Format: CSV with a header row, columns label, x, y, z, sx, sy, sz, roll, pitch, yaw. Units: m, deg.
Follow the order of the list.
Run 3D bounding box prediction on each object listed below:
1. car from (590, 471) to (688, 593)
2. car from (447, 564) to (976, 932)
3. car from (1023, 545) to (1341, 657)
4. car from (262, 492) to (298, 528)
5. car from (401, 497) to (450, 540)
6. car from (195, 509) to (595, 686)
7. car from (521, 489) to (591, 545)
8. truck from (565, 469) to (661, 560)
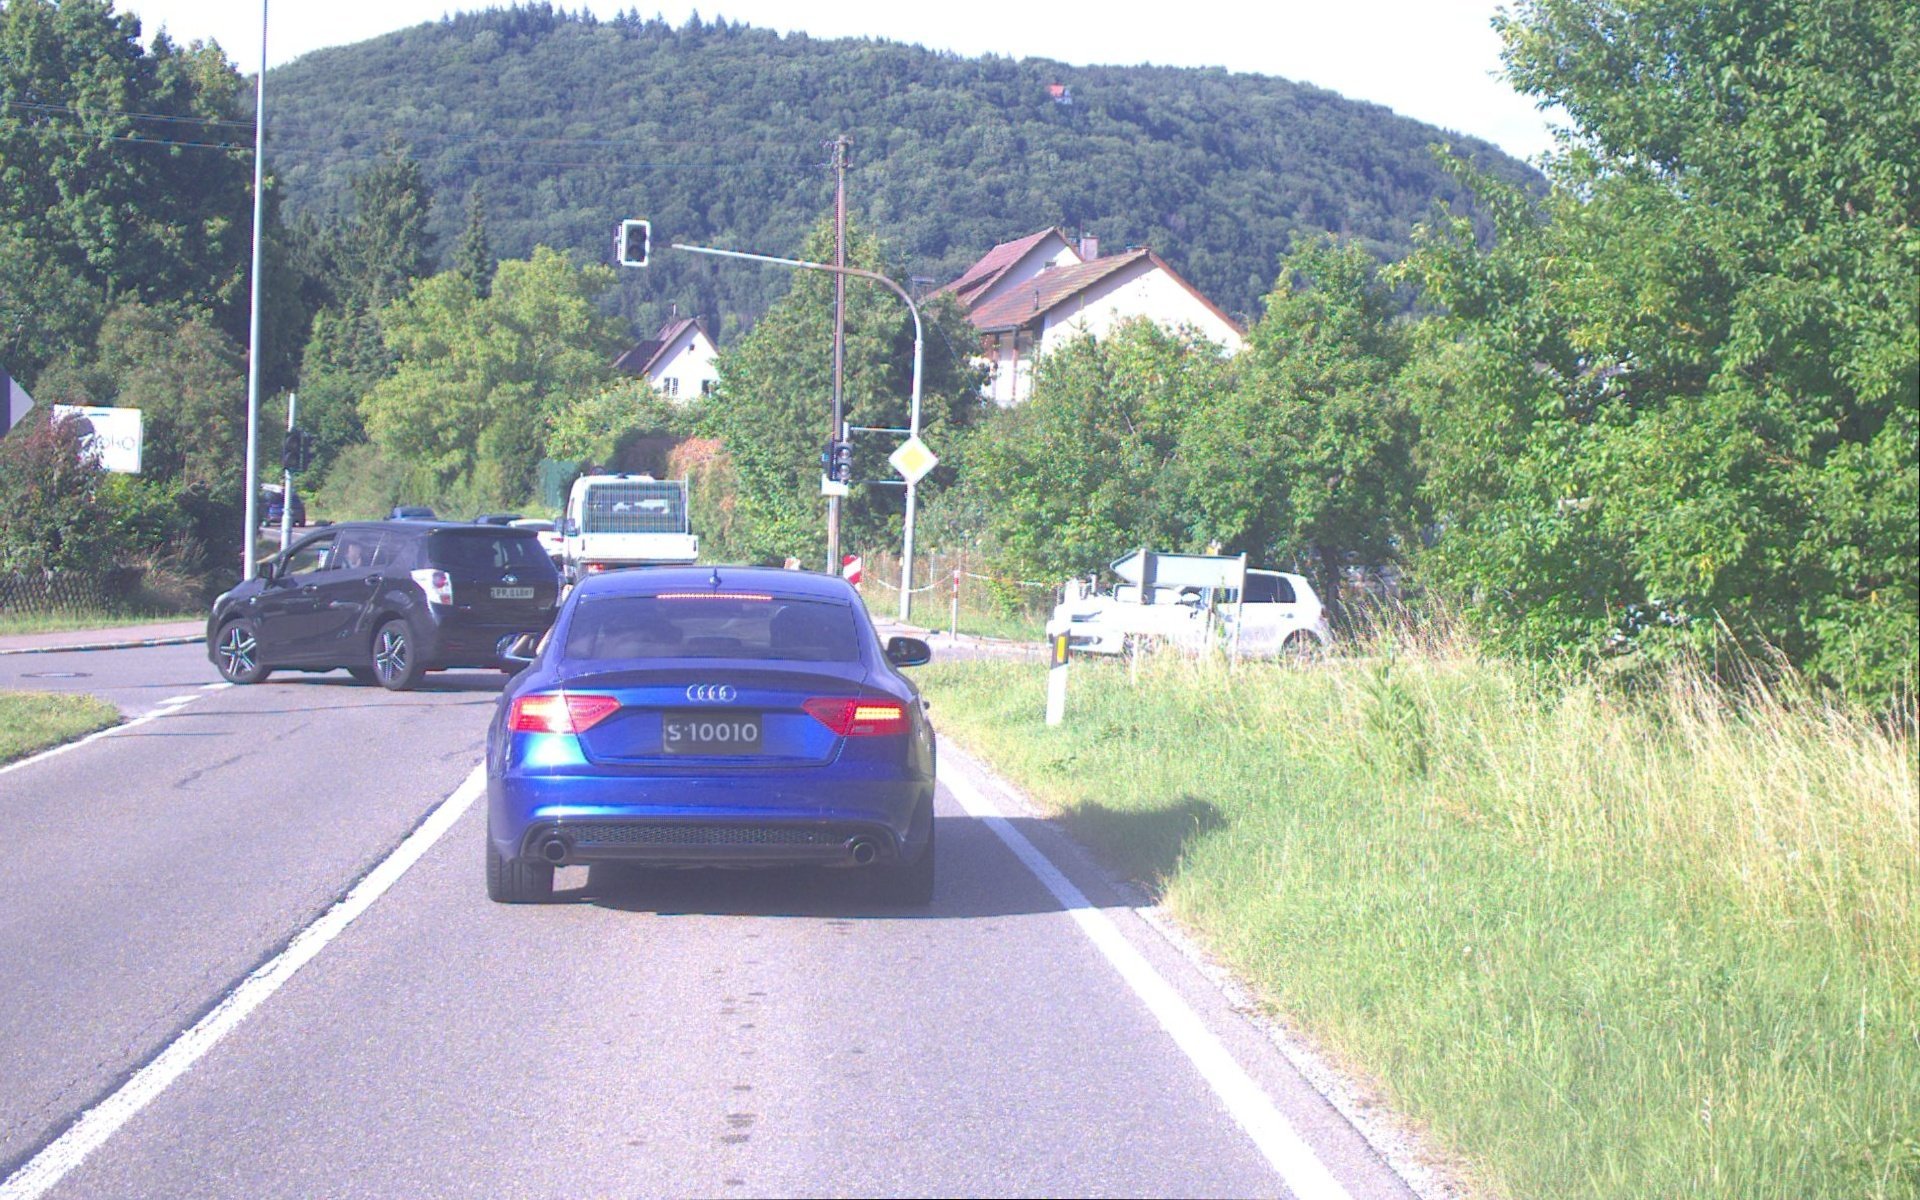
label,x,y,z,sx,sy,sz,roll,pitch,yaw
car,-6.032,-1.259,64.687,1.746,2.188,4.001,1,0,-5
car,-0.934,0.546,14.994,1.795,1.383,4.000,0,0,3
car,3.115,0.015,48.273,4.043,1.503,1.855,1,0,-24
car,-31.571,-4.151,159.676,1.625,1.571,3.680,1,0,-11
car,-19.673,-2.985,126.651,1.697,1.485,3.528,1,0,-8
car,-5.564,-0.049,33.613,3.997,1.634,1.747,1,0,43
car,-11.272,-2.296,95.736,1.697,1.485,3.528,1,0,-10
truck,-7.968,-1.918,78.595,1.697,1.947,5.924,1,0,-10
